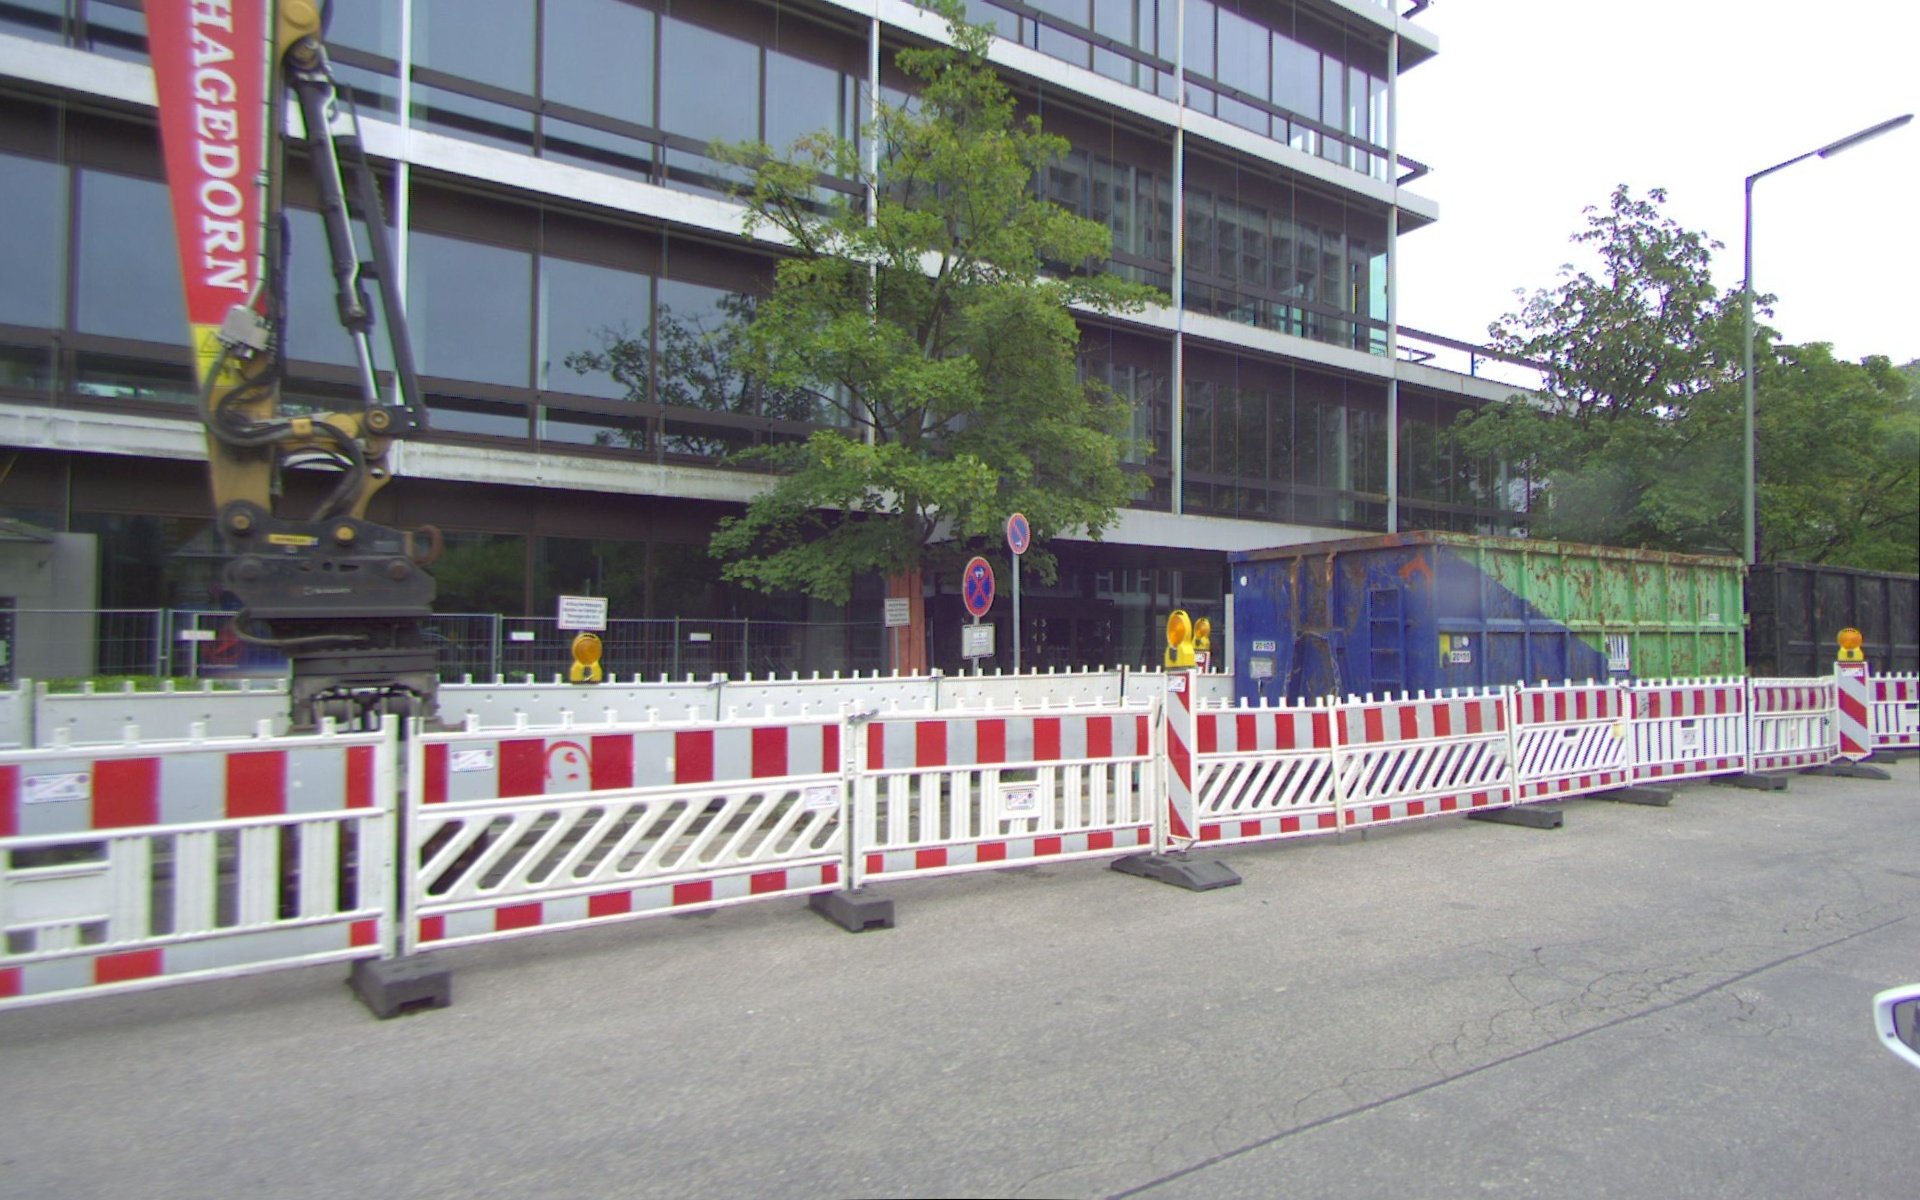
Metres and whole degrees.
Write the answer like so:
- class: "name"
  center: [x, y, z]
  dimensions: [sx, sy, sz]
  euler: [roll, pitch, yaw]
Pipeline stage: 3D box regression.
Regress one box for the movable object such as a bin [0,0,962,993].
- class: "movable object such as a bin"
  center: [-5.733, -1.754, 4.674]
  dimensions: [11.649, 6.650, 2.890]
  euler: [2, -2, -31]
